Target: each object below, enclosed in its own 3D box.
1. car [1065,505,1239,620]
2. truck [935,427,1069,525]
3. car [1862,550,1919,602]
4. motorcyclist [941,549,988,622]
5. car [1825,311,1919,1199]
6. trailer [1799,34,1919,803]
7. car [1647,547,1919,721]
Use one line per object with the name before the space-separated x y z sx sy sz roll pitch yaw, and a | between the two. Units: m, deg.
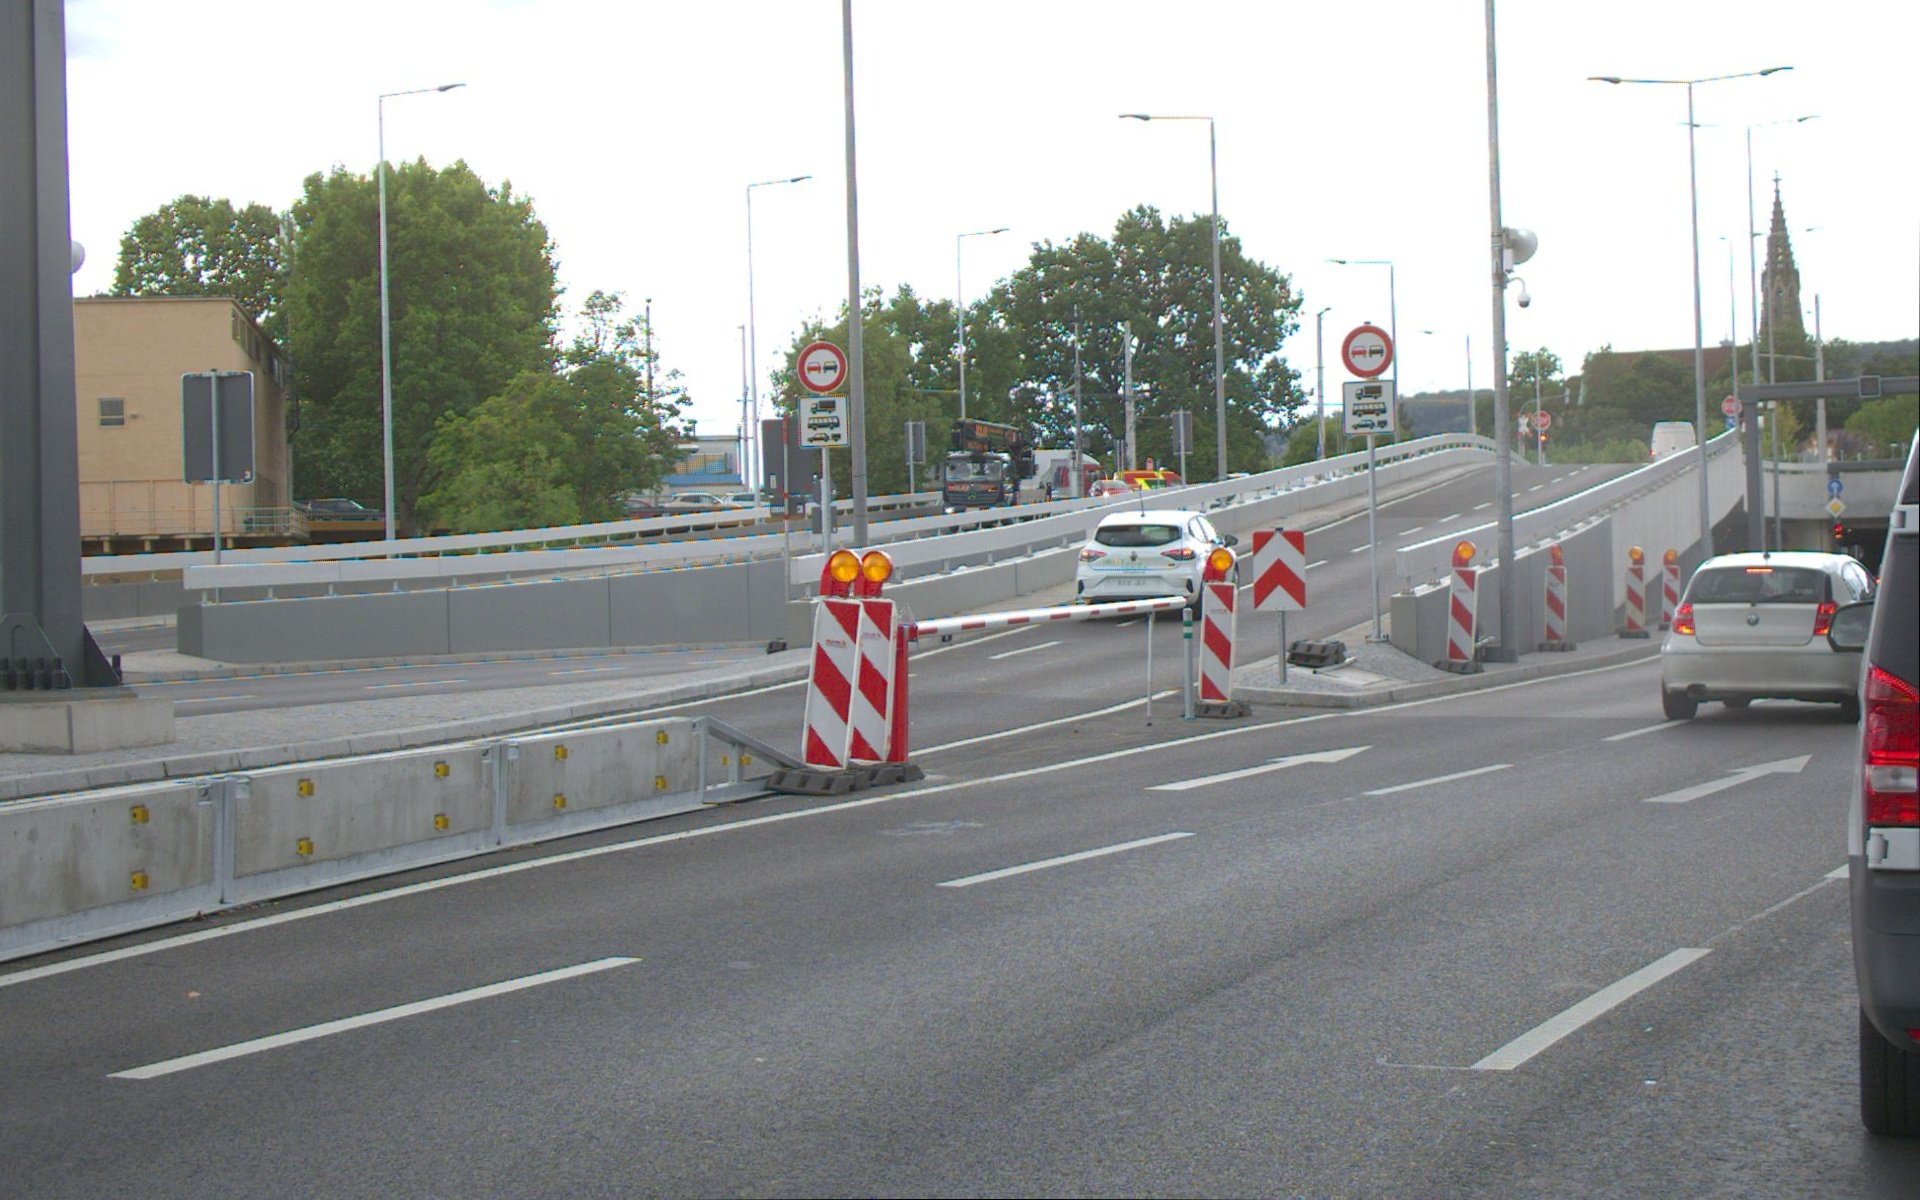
car | 2.643 -0.492 46.609 1.744 1.427 3.773 3 1 12
truck | 1.648 -4.635 126.316 2.734 3.378 10.615 1 3 13
car | 28.824 -0.724 106.107 1.661 1.483 3.565 -1 -1 11
motorcyclist | 0.099 -0.315 75.264 0.665 1.600 1.102 0 0 21
car | 3.536 0.339 9.880 1.995 1.983 5.196 0 1 14
trailer | 8.468 -1.016 23.008 3.729 4.127 10.970 0 1 23
car | 7.293 0.264 30.177 1.718 1.393 4.342 1 1 21
